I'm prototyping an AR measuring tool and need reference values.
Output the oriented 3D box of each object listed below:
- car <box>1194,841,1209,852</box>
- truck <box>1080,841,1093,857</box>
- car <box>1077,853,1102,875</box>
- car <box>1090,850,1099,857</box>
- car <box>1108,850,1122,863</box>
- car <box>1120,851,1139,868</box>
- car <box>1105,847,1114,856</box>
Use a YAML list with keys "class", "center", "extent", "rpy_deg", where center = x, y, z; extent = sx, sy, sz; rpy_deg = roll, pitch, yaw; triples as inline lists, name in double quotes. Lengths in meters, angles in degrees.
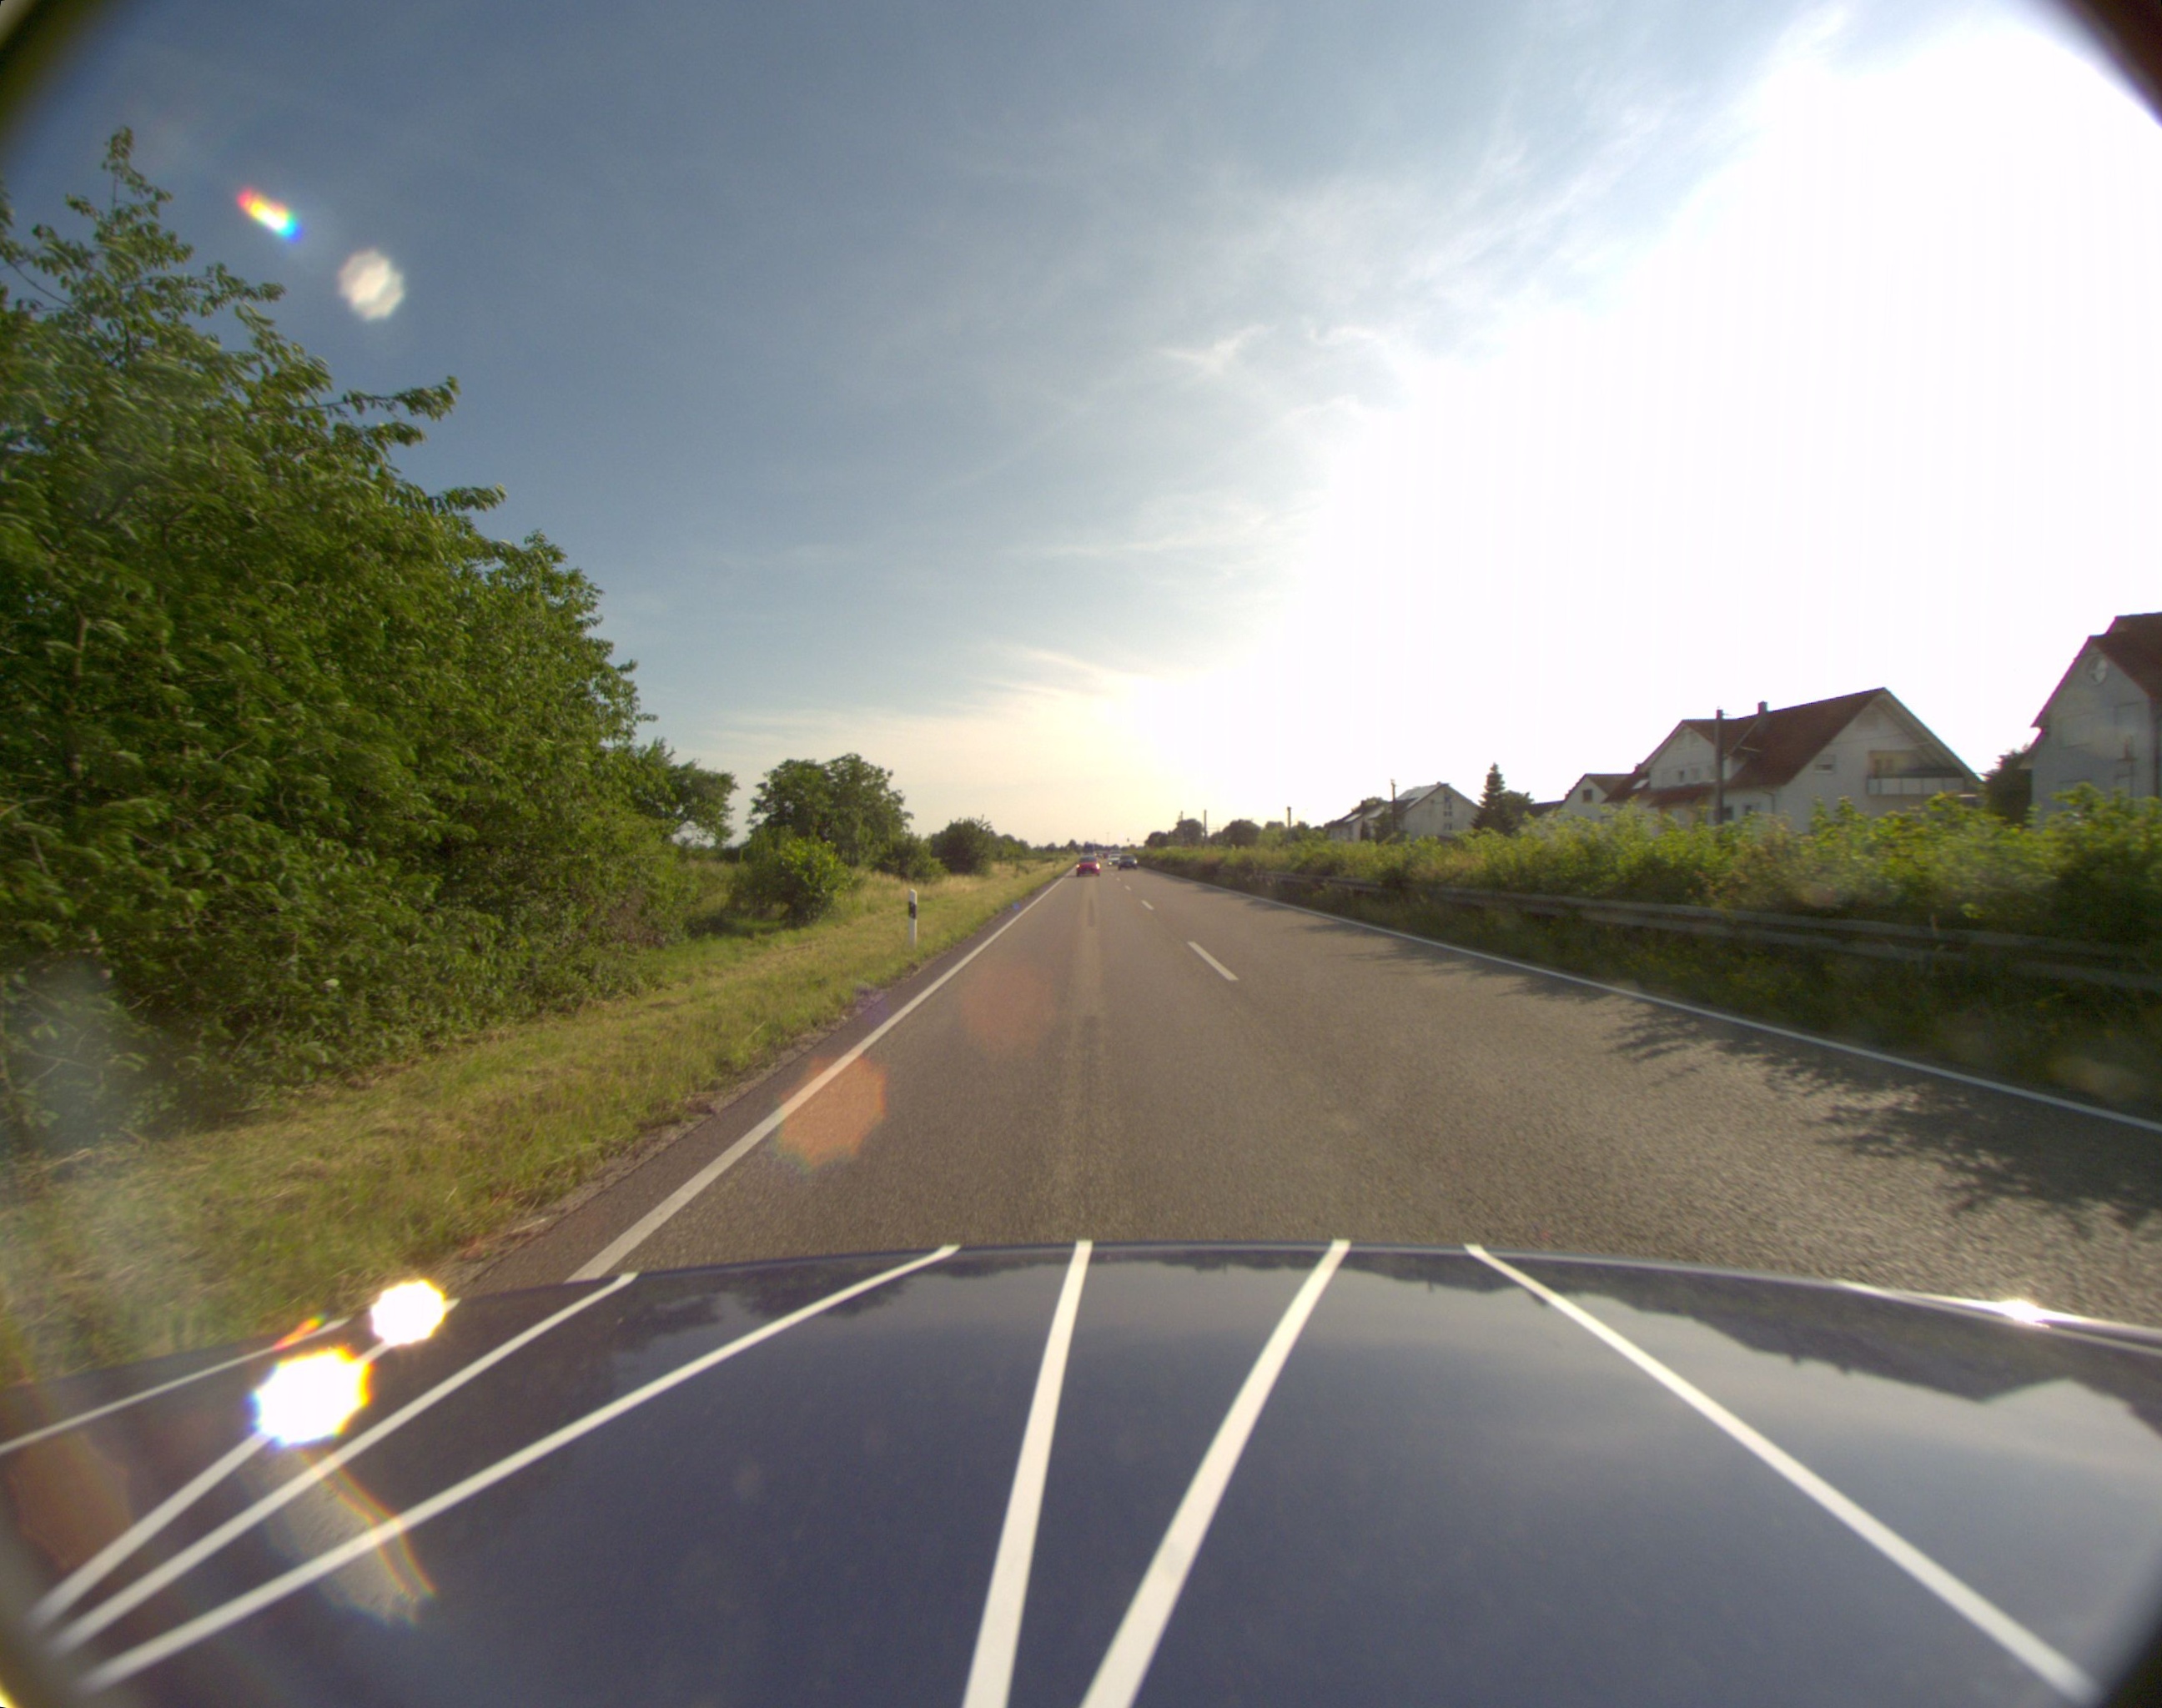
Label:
- class: "car"
  center: [20.864, -1.248, 131.370]
  extent: [1.998, 1.740, 4.000]
  rpy_deg: [-2, 1, 1]
- class: "truck"
  center: [1.444, -1.262, 197.032]
  extent: [2.849, 3.896, 10.103]
  rpy_deg: [-2, 1, 1]
- class: "car"
  center: [0.646, 0.722, 56.722]
  extent: [1.735, 1.467, 4.000]
  rpy_deg: [-2, 0, 1]
- class: "car"
  center: [2.789, -0.083, 156.343]
  extent: [1.636, 1.442, 4.000]
  rpy_deg: [-2, 0, 1]
- class: "car"
  center: [4.246, 0.312, 95.980]
  extent: [1.636, 1.442, 4.000]
  rpy_deg: [-2, 0, 1]
- class: "car"
  center: [4.583, 0.502, 72.342]
  extent: [1.636, 1.500, 4.000]
  rpy_deg: [-2, 1, 1]
- class: "car"
  center: [6.409, -0.635, 171.871]
  extent: [1.998, 2.002, 4.000]
  rpy_deg: [-2, 0, 1]
